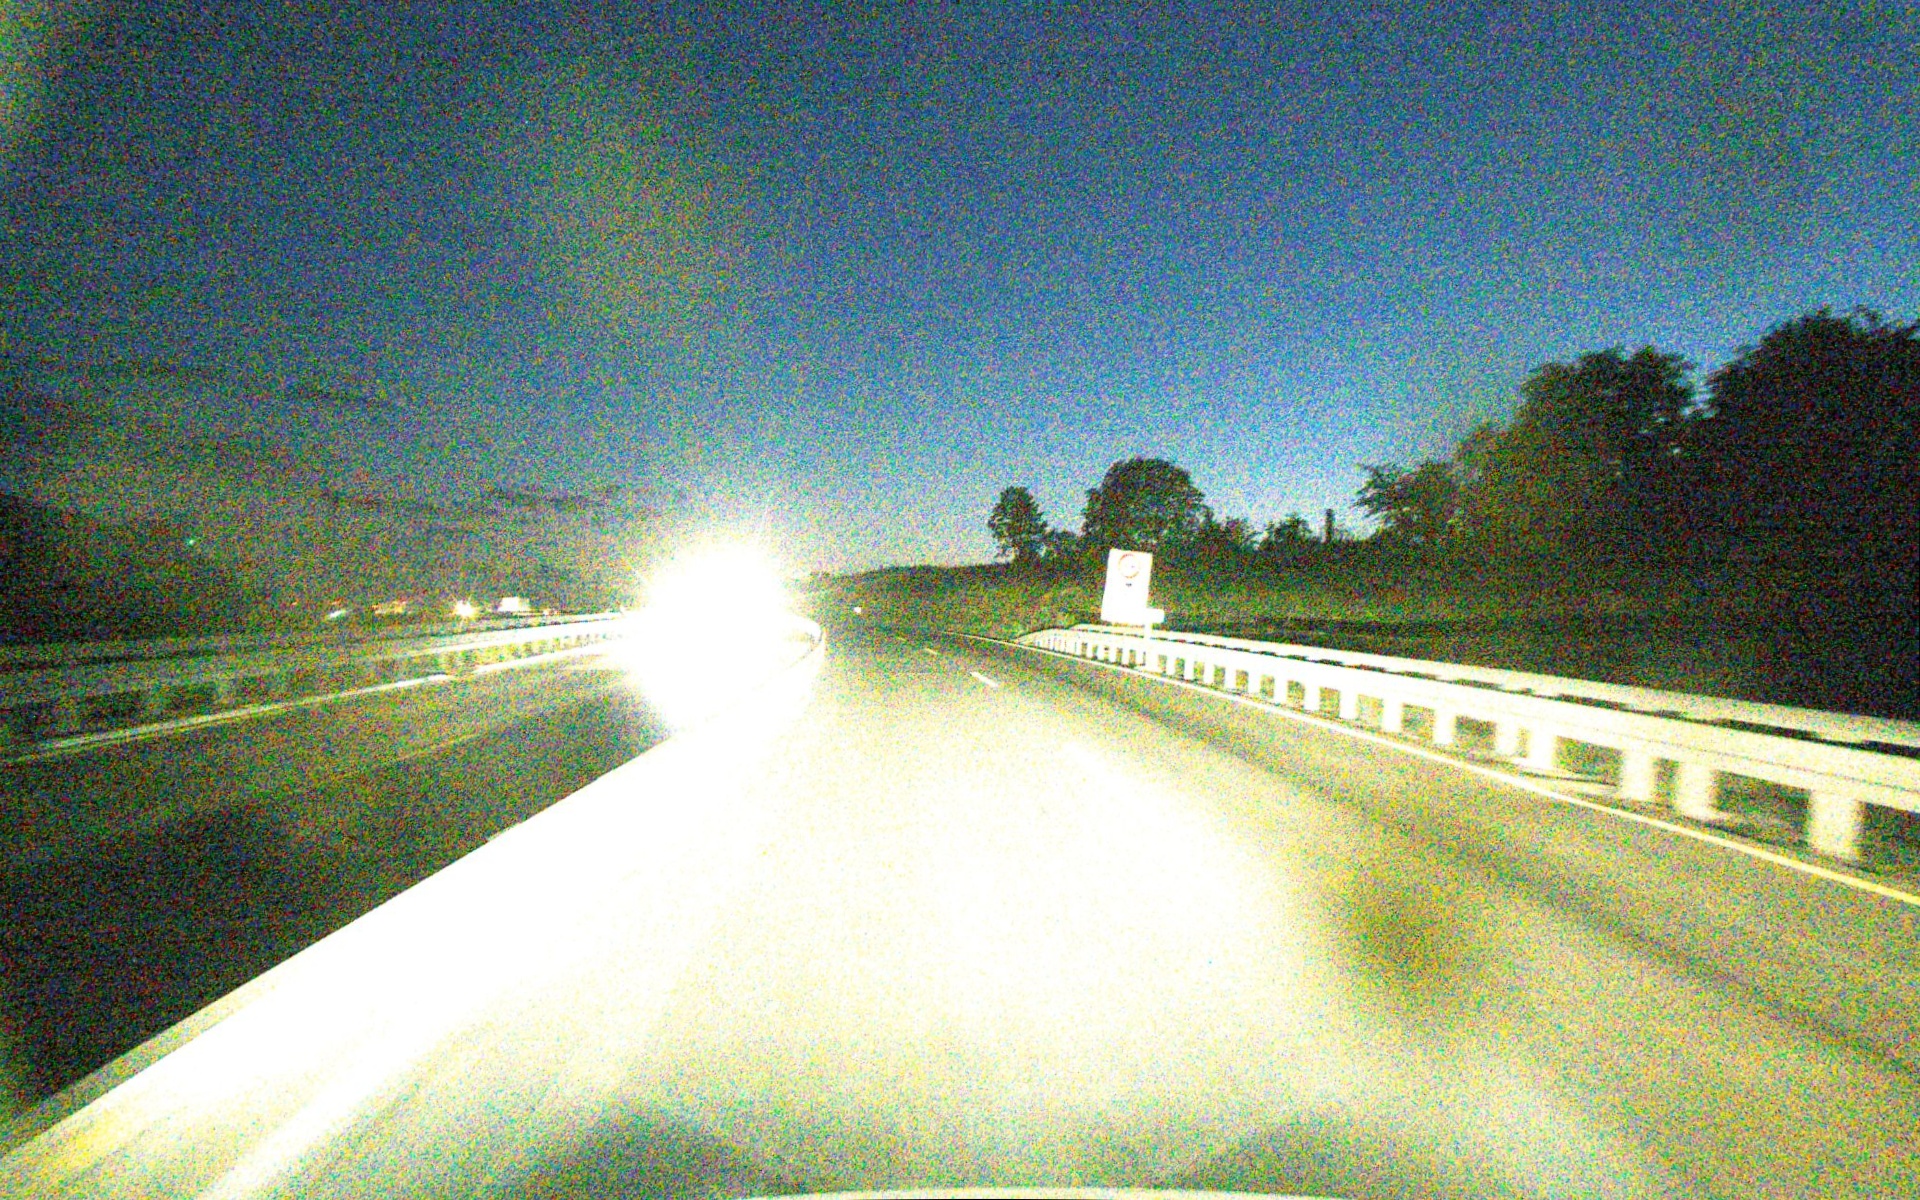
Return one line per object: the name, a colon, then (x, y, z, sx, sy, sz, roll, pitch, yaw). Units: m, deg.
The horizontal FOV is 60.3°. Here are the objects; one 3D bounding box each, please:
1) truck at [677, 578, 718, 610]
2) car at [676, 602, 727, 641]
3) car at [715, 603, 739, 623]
truck: (-40.635, -0.926, 255.482, 3.950, 4.631, 13.880, -1, -1, -18)
car: (-10.201, 0.855, 65.545, 1.679, 1.469, 4.482, -1, -1, -5)
car: (-16.905, 0.952, 119.843, 1.684, 1.404, 4.235, 1, -1, -8)
